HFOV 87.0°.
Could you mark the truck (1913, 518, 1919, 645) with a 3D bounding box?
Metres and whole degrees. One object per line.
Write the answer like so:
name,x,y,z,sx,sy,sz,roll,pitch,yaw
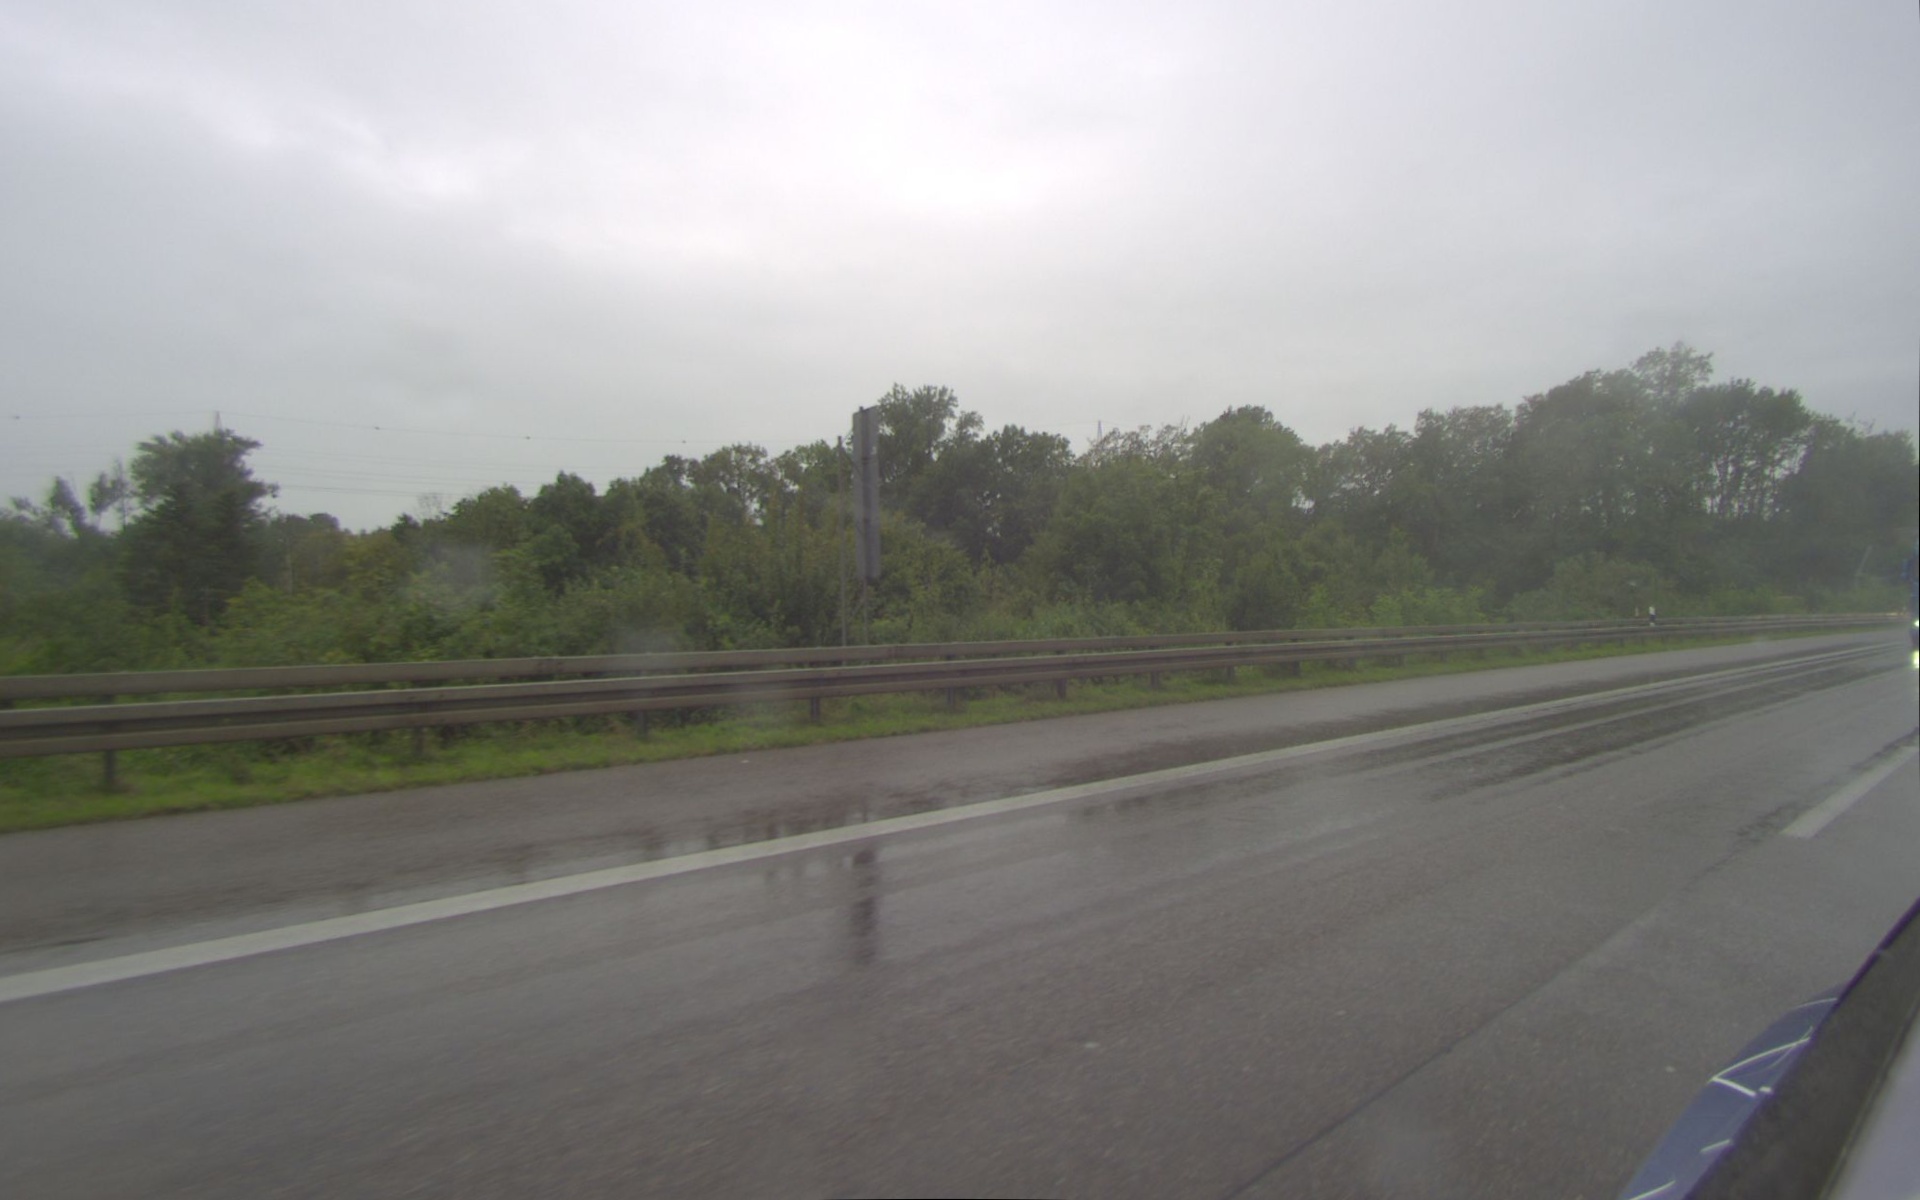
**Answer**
truck,34.485,-0.614,33.996,6.365,4.129,2.755,0,1,-39
